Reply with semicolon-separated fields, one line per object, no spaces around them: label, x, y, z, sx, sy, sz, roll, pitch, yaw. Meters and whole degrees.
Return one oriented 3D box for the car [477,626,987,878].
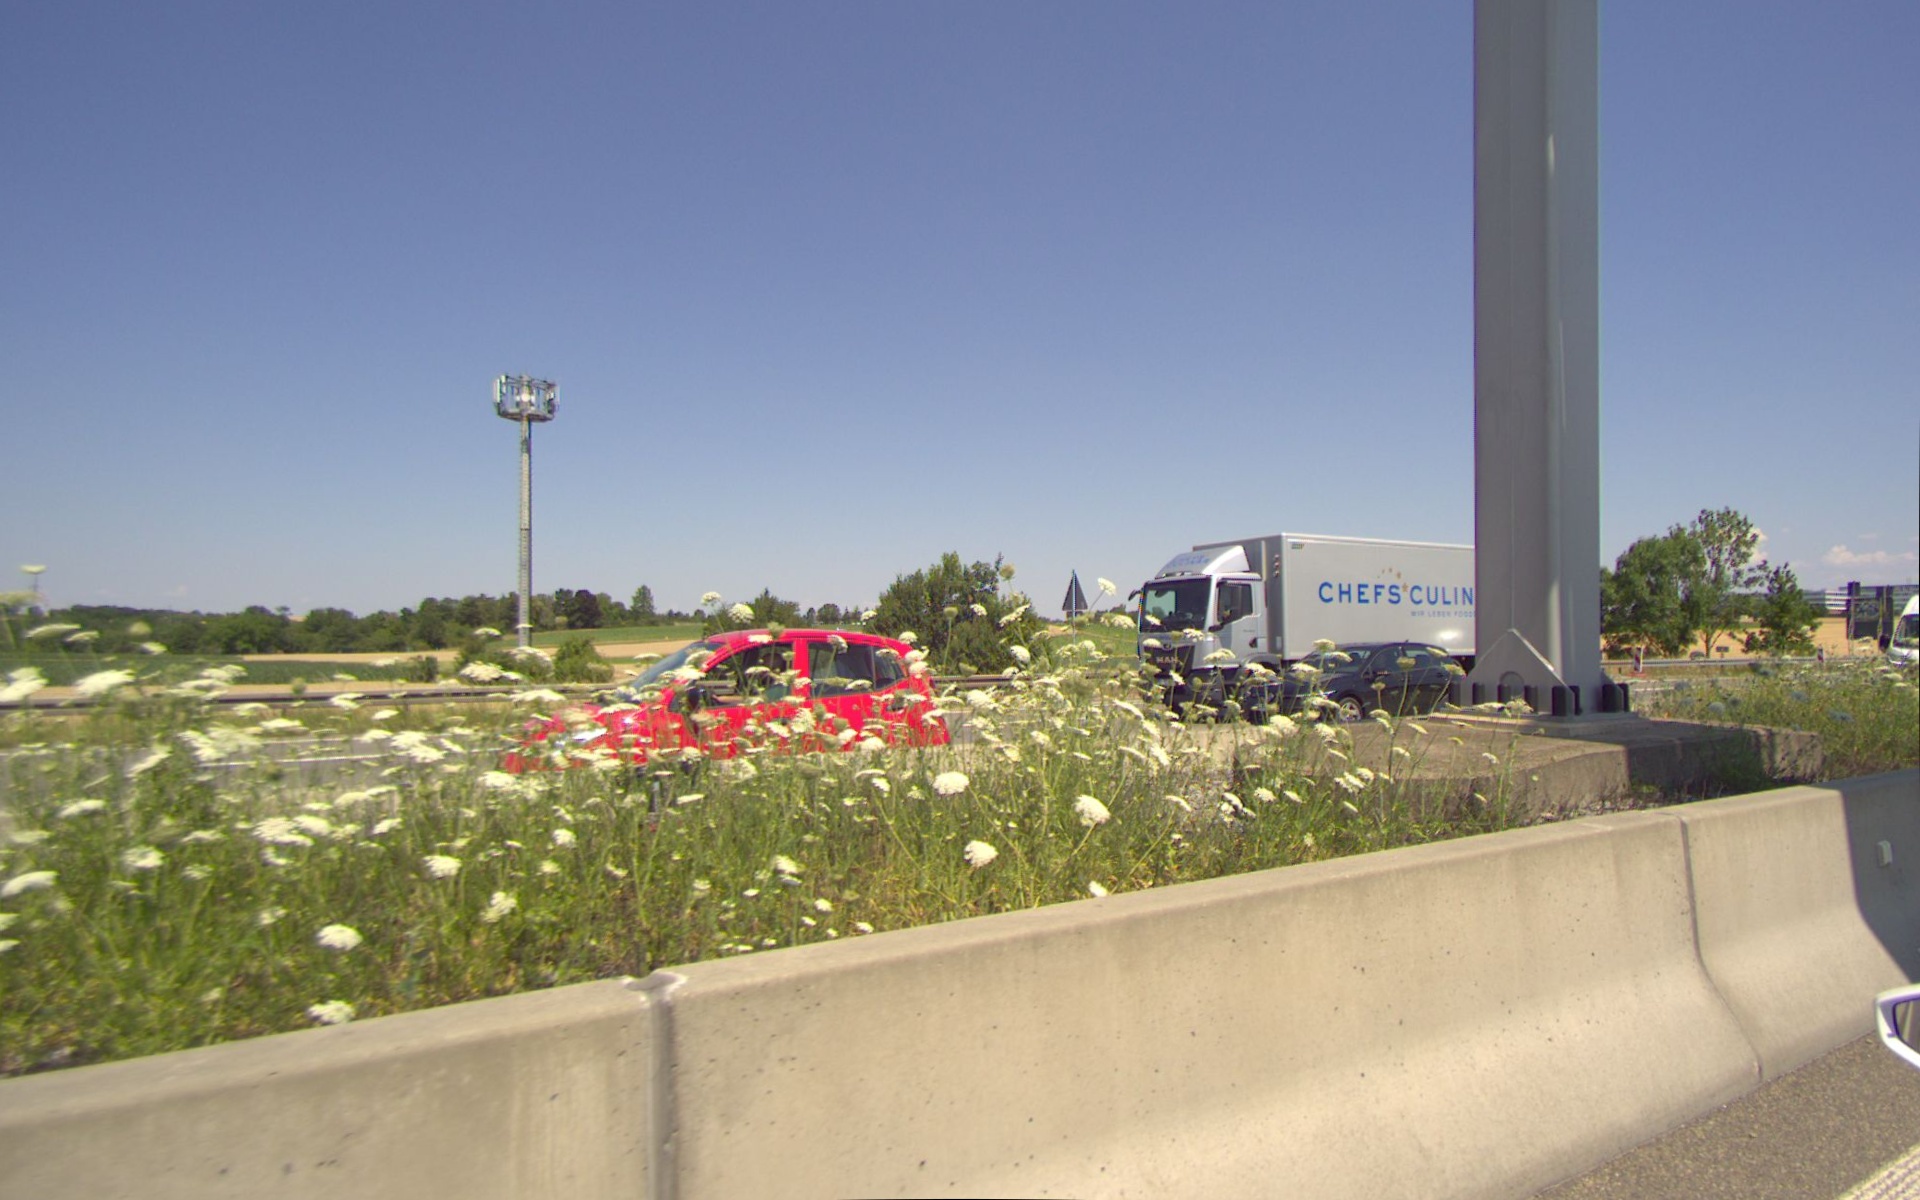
car;-1.734;1.003;7.971;3.662;1.591;1.551;1;-2;-31

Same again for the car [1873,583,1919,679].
car;21.879;0.674;21.642;4.740;1.971;1.984;1;-2;-31

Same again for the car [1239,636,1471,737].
car;6.489;1.340;16.420;3.793;1.461;1.551;1;-3;-31

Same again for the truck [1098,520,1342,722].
truck;5.193;0.470;20.194;3.952;3.634;2.687;1;-3;-29

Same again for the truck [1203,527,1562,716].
truck;9.729;0.535;22.764;8.680;3.667;2.688;1;-3;-29
